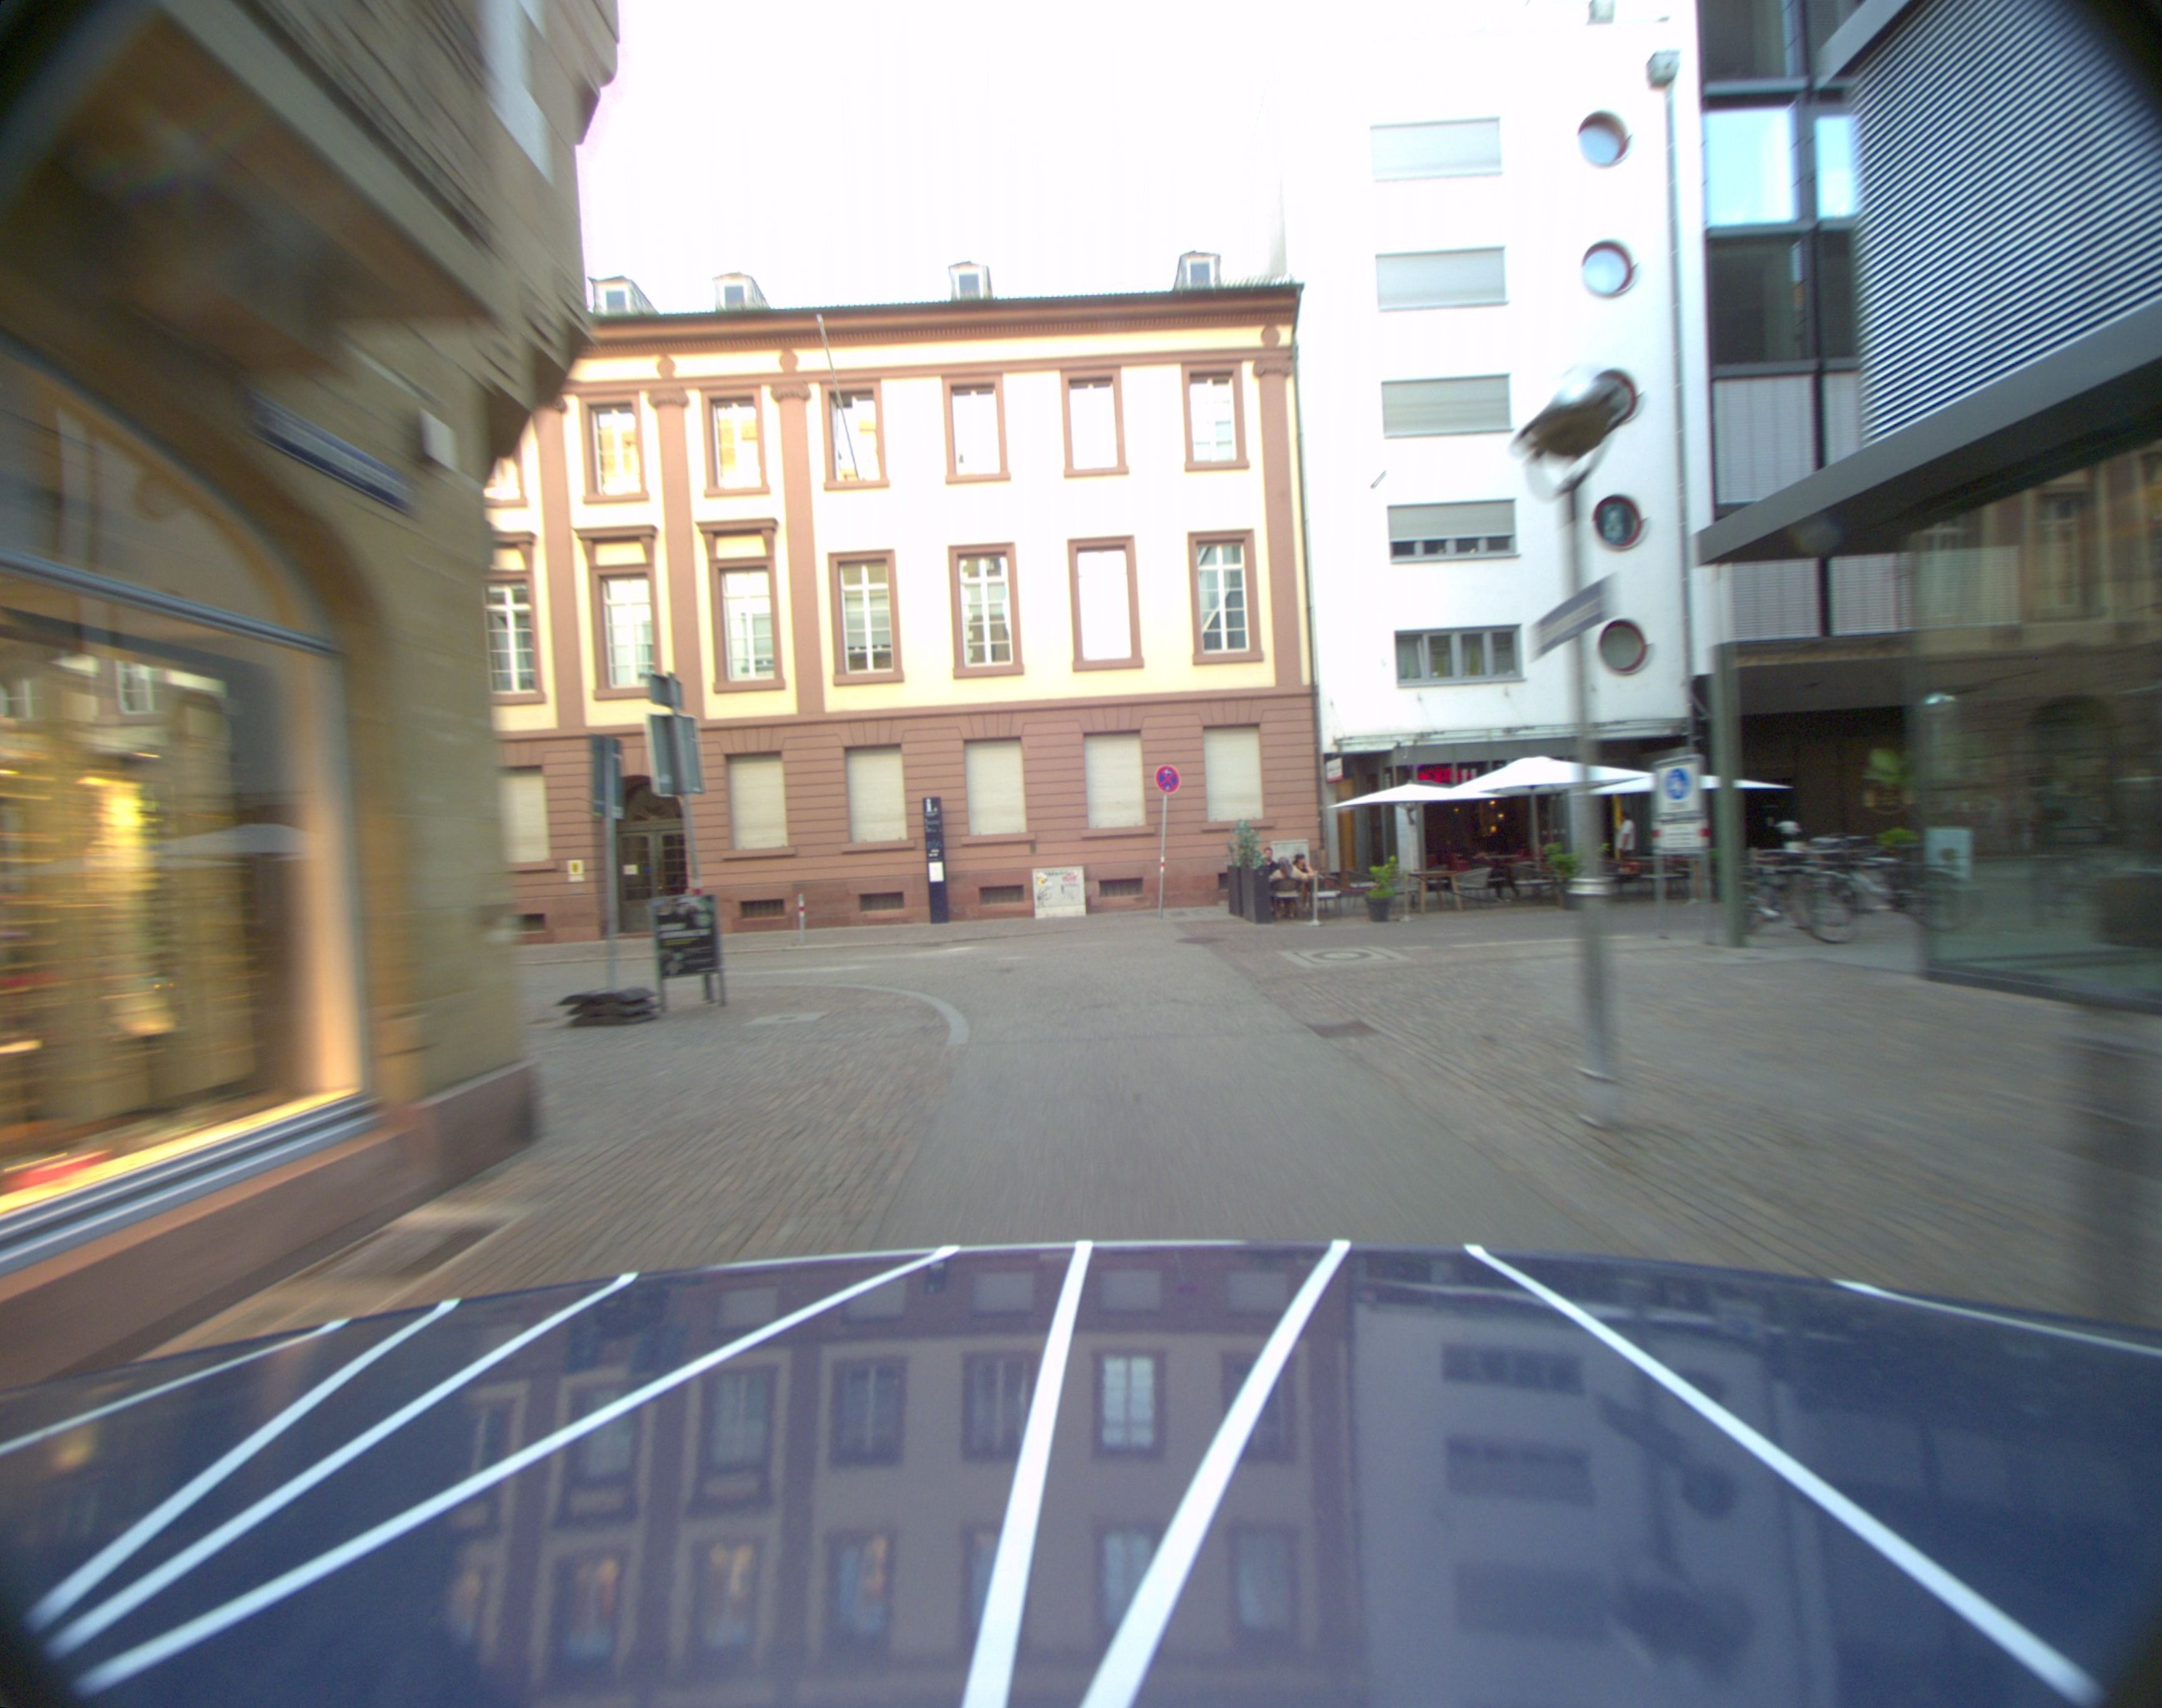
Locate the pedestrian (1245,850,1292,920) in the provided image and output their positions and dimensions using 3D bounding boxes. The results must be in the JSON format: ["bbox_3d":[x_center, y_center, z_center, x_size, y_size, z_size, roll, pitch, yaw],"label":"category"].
[{"bbox_3d":[3.770,0.600,15.313,0.673,1.324,0.792,-3,2,-3],"label":"pedestrian"}]

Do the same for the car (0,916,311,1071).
[{"bbox_3d":[-12.083,1.666,9.254,3.594,1.417,1.618,-3,4,0],"label":"car"}]

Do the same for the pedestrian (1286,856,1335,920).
[{"bbox_3d":[4.560,0.667,15.129,0.673,1.177,0.792,-3,2,-3],"label":"pedestrian"}]

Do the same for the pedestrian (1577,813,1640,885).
[{"bbox_3d":[12.603,-0.112,18.169,0.800,1.649,0.857,-4,1,-17],"label":"pedestrian"}]

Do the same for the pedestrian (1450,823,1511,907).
[{"bbox_3d":[8.202,0.223,15.633,0.725,1.639,0.792,-3,1,-6],"label":"pedestrian"}]

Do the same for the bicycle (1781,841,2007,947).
[{"bbox_3d":[9.669,0.458,9.179,0.467,1.114,2.016,-3,-1,-1],"label":"bicycle"}]

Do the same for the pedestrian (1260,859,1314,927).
[{"bbox_3d":[3.816,0.709,14.132,0.673,1.177,0.792,-3,2,-6],"label":"pedestrian"}]

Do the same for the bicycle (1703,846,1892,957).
[{"bbox_3d":[8.162,0.521,8.765,0.467,1.129,1.703,-3,-1,-1],"label":"bicycle"}]
